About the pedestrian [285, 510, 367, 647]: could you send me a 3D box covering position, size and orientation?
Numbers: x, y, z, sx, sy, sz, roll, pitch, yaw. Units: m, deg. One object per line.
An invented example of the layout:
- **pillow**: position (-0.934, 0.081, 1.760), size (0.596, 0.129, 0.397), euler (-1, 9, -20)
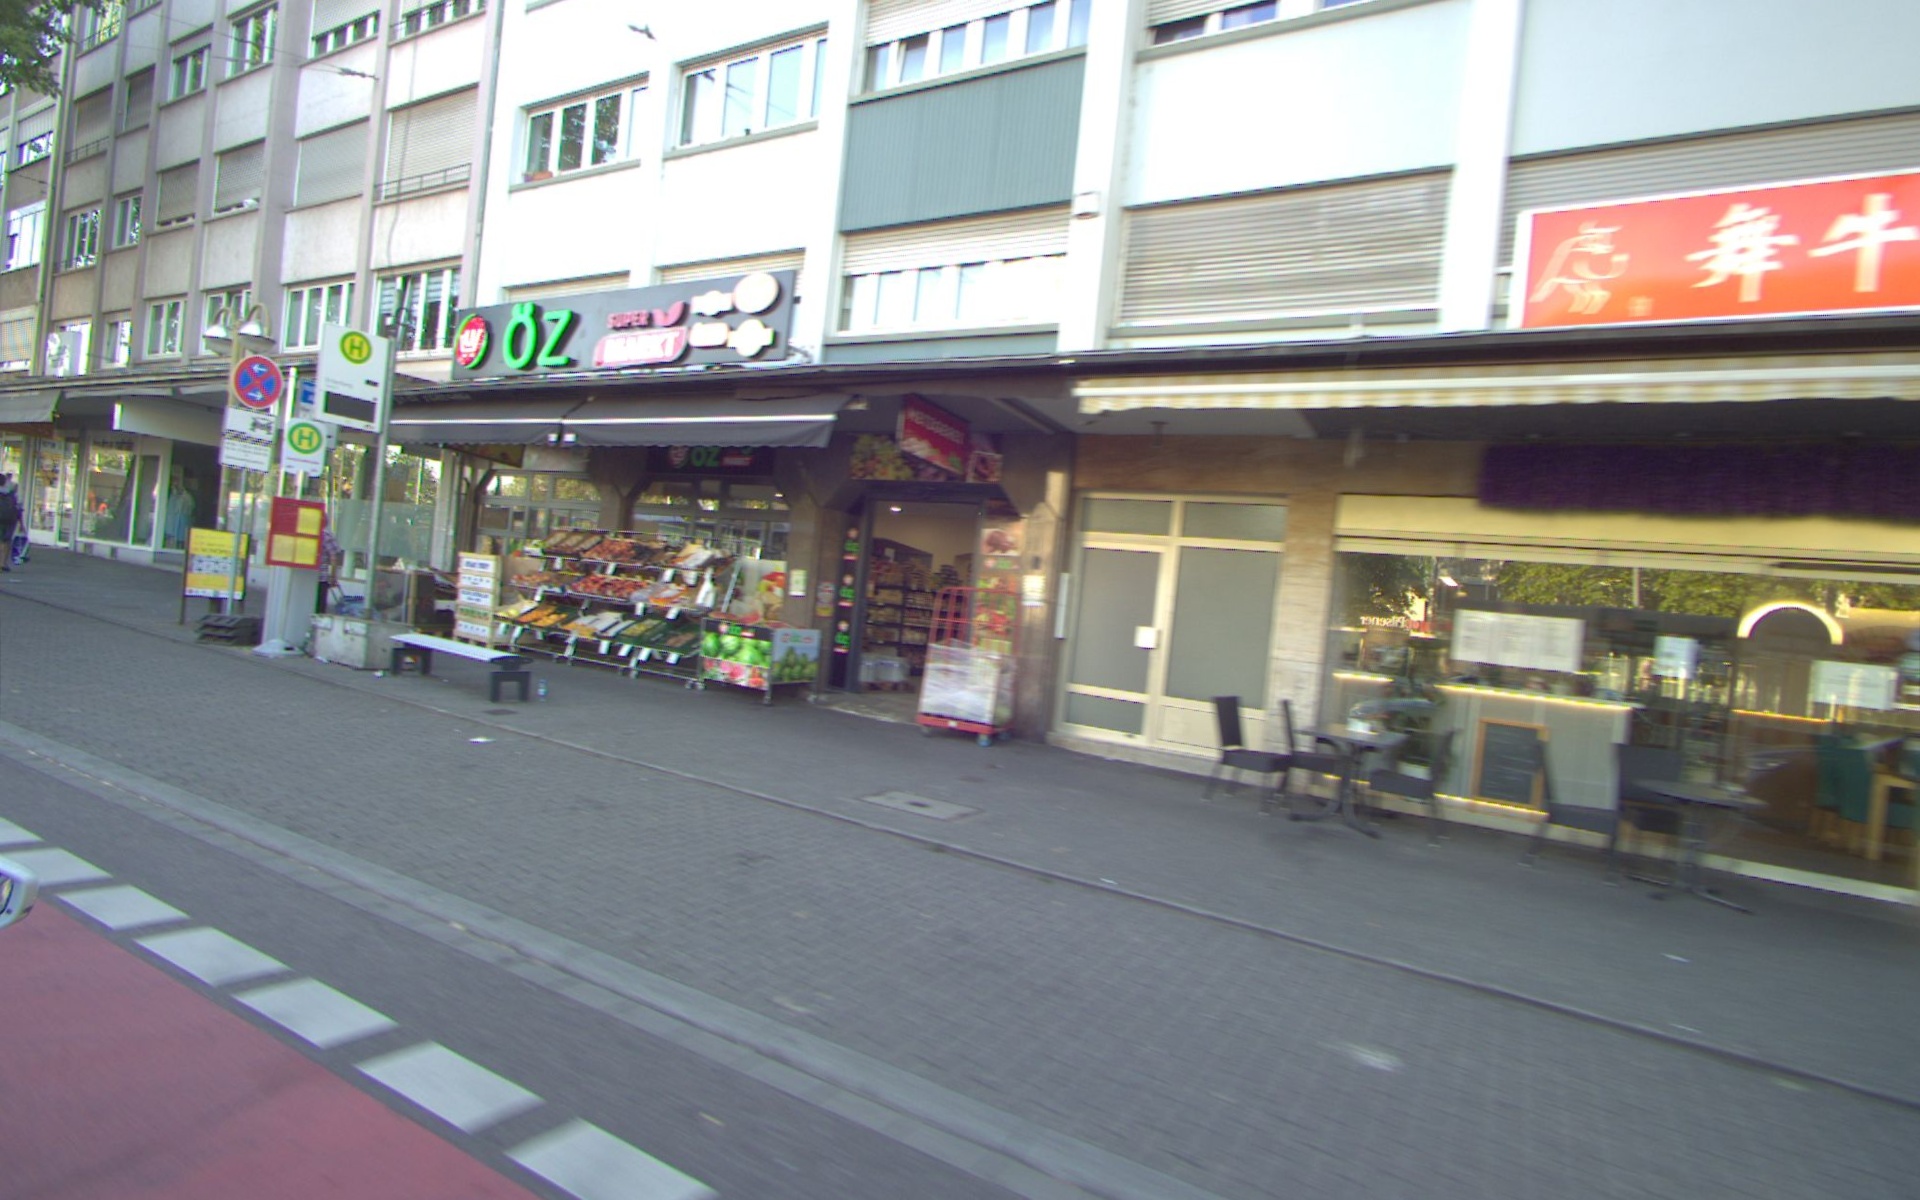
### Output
- **pedestrian**: position (-8.301, -0.275, 13.178), size (0.548, 1.694, 0.645), euler (7, 0, 40)

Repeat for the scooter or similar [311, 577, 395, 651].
- **scooter or similar**: position (-7.775, 0.181, 12.892), size (0.721, 0.854, 0.576), euler (6, 0, 30)

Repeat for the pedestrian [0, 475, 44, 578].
- **pedestrian**: position (-16.426, -1.288, 17.176), size (0.973, 1.695, 0.844), euler (7, 2, 31)
